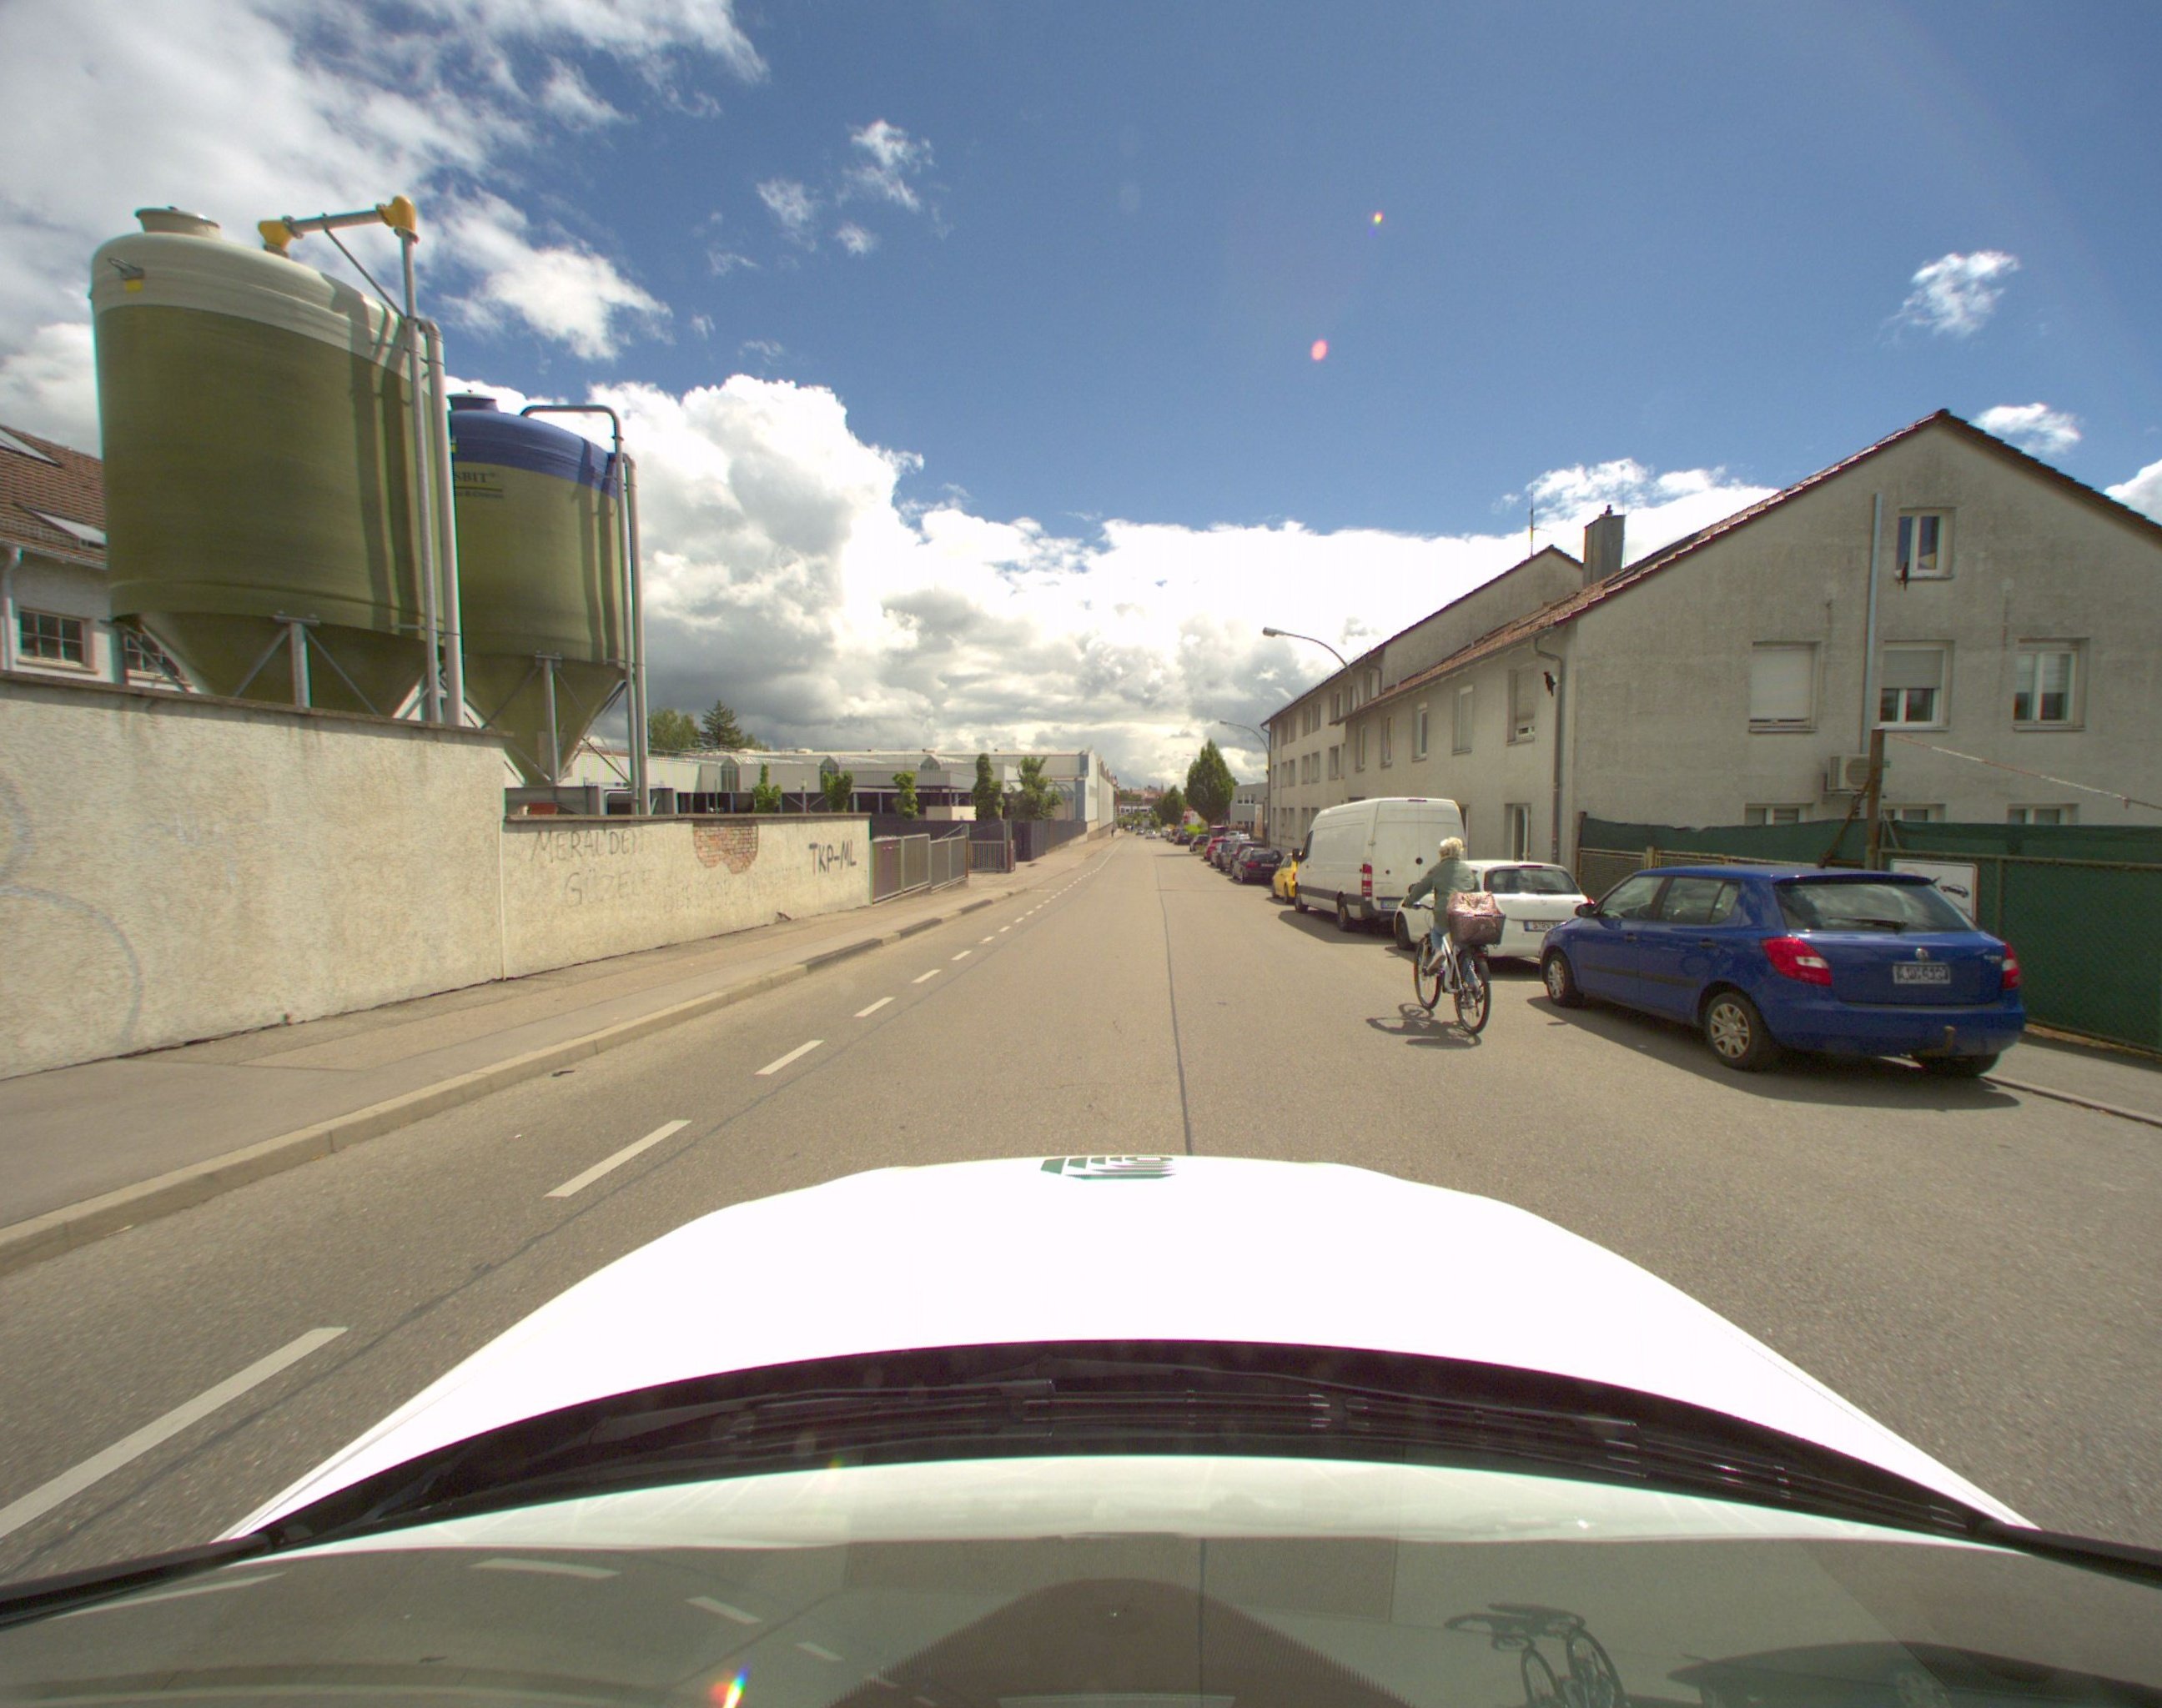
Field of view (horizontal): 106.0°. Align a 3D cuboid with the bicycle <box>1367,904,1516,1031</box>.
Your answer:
[{"bbox_3d":[3.432,1.041,7.937,0.737,0.975,1.733,0,1,2],"label":"bicycle"}]

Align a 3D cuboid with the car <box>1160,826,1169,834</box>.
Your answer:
[{"bbox_3d":[16.930,-4.916,164.695,1.693,1.527,3.744,1,2,6],"label":"car"}]

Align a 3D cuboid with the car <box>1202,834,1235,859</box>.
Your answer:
[{"bbox_3d":[8.826,-0.513,52.576,1.727,1.472,4.268,1,2,4],"label":"car"}]

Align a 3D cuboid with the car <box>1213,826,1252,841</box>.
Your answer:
[{"bbox_3d":[16.416,-2.236,88.378,1.732,1.462,4.031,-4,2,-34],"label":"car"}]

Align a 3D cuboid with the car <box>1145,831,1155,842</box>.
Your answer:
[{"bbox_3d":[11.672,-2.981,137.479,1.560,1.786,3.609,0,0,4],"label":"car"}]

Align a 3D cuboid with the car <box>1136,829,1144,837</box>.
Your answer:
[{"bbox_3d":[13.430,-4.810,184.514,1.712,1.555,4.292,-3,0,3],"label":"car"}]

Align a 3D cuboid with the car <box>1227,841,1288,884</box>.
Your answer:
[{"bbox_3d":[7.418,0.290,34.678,1.697,1.509,5.093,2,3,3],"label":"car"}]

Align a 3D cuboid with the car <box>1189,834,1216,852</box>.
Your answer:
[{"bbox_3d":[10.159,-0.947,68.345,1.784,1.465,4.712,0,1,3],"label":"car"}]

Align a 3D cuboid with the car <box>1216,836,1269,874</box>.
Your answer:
[{"bbox_3d":[7.923,0.004,40.306,1.671,1.637,4.797,2,3,0],"label":"car"}]

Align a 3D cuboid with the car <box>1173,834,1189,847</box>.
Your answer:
[{"bbox_3d":[12.296,-1.679,100.176,1.648,1.540,4.740,0,1,4],"label":"car"}]

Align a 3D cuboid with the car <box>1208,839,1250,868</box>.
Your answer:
[{"bbox_3d":[8.263,-0.078,45.887,1.727,1.423,4.866,1,2,3],"label":"car"}]

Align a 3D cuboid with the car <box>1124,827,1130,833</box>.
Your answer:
[{"bbox_3d":[12.524,-6.596,221.438,1.845,1.486,4.004,0,0,3],"label":"car"}]

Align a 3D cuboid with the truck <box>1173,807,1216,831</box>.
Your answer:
[{"bbox_3d":[23.281,-7.186,167.390,8.373,4.670,2.597,0,0,25],"label":"truck"}]

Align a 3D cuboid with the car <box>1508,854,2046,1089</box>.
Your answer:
[{"bbox_3d":[5.591,0.764,7.349,1.560,1.510,4.098,0,0,4],"label":"car"}]

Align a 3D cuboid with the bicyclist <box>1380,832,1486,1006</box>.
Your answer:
[{"bbox_3d":[3.432,0.612,7.994,0.737,1.626,0.732,0,0,1],"label":"bicyclist"}]

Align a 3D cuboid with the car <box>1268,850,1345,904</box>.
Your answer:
[{"bbox_3d":[6.722,0.641,24.638,1.585,1.447,3.796,0,1,5],"label":"car"}]

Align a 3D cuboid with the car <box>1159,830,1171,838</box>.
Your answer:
[{"bbox_3d":[15.890,-3.775,154.055,1.695,1.527,3.738,3,2,0],"label":"car"}]

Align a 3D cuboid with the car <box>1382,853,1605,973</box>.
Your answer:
[{"bbox_3d":[5.929,0.753,12.218,1.586,1.510,3.793,0,0,3],"label":"car"}]

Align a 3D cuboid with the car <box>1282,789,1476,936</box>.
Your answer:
[{"bbox_3d":[6.256,0.153,18.289,2.025,2.641,7.288,0,0,3],"label":"car"}]

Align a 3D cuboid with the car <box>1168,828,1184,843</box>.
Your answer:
[{"bbox_3d":[12.824,-2.547,110.083,1.861,1.990,5.150,0,1,4],"label":"car"}]

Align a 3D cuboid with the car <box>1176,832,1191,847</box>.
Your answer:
[{"bbox_3d":[11.979,-1.697,95.098,1.671,1.638,4.130,0,1,6],"label":"car"}]
